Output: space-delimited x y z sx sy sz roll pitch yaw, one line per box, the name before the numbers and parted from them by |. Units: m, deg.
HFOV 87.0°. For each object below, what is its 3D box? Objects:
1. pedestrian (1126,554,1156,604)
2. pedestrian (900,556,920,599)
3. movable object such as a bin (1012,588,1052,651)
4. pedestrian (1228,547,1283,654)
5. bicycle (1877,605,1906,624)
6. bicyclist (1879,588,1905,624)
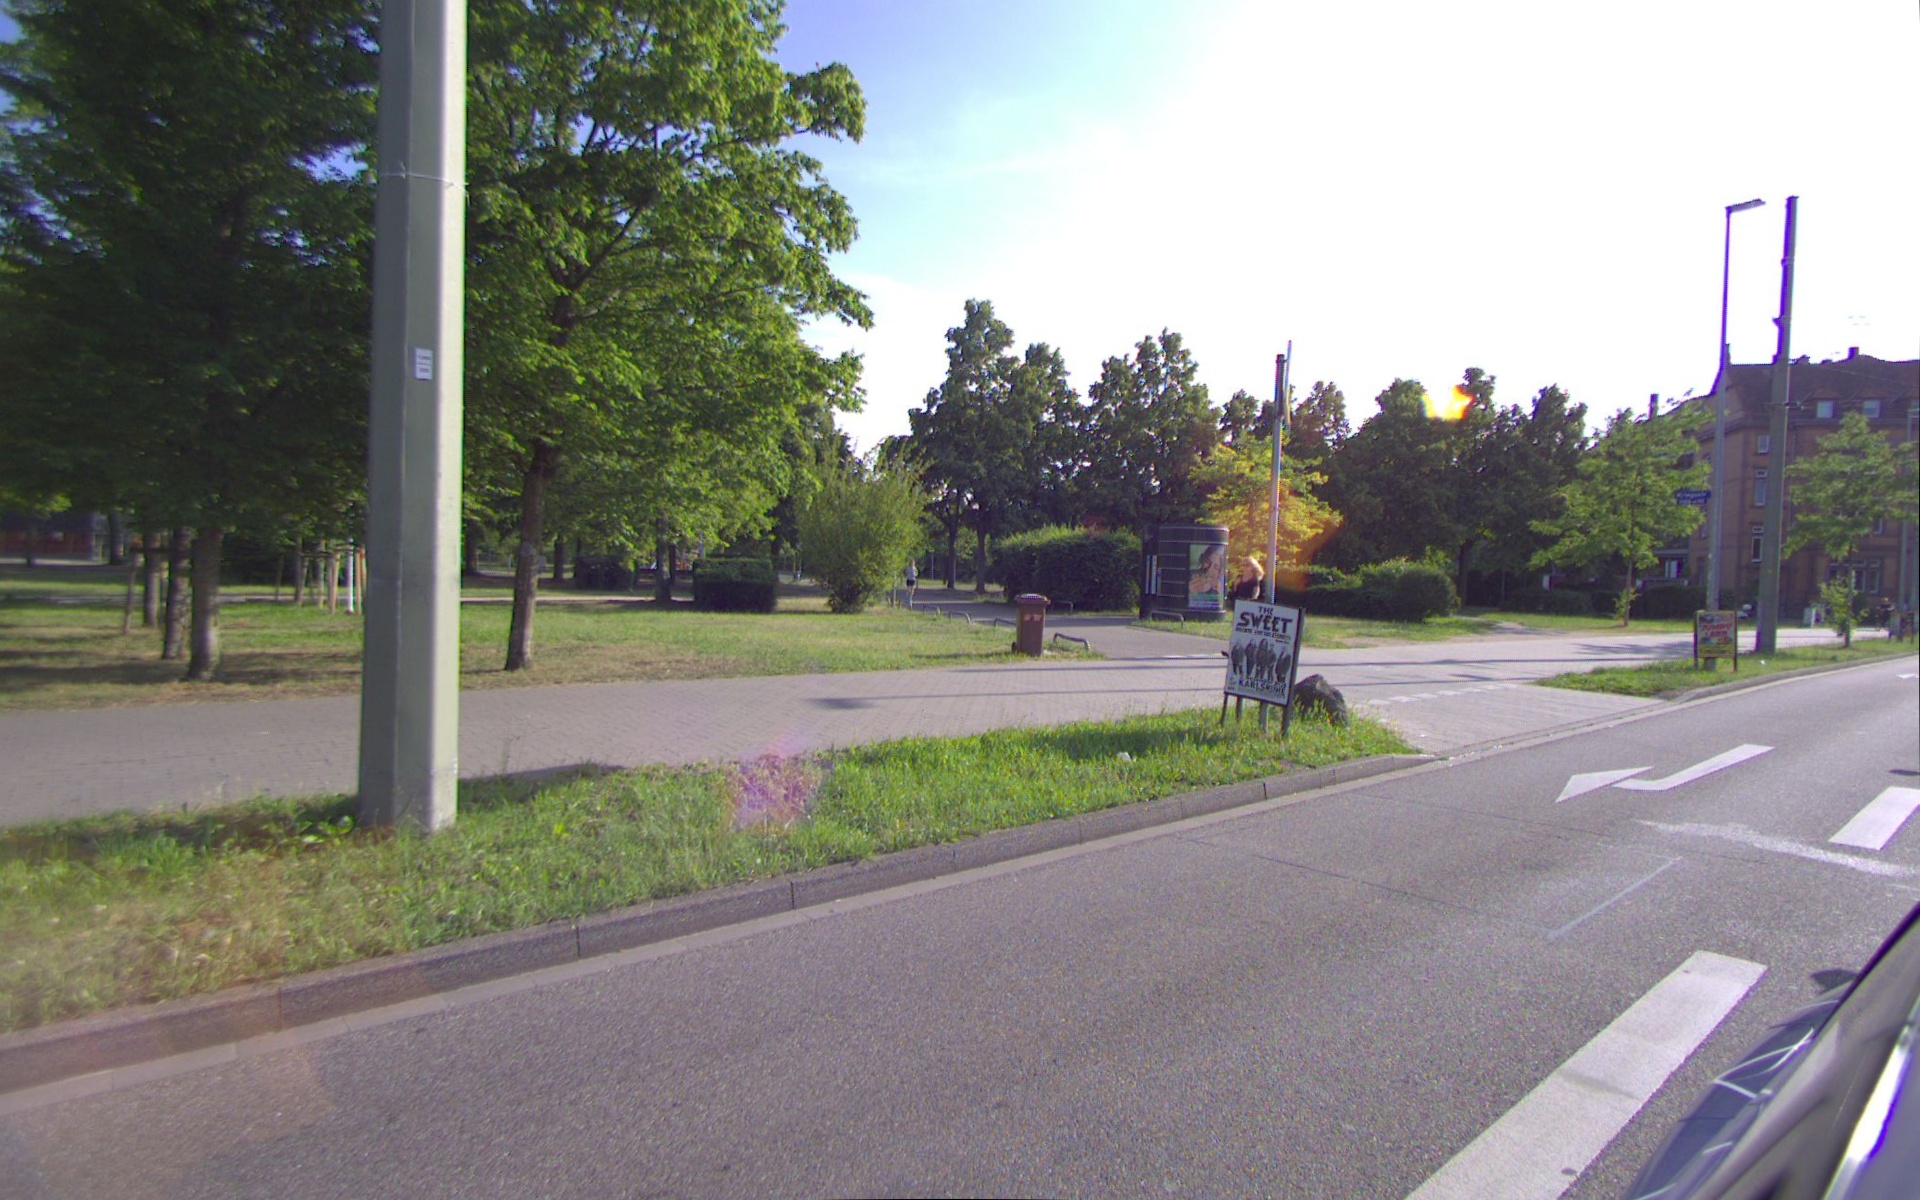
pedestrian | 8.006 -0.922 44.825 0.872 2.184 0.914 1 1 -28
pedestrian | -1.982 -0.906 40.094 0.609 1.671 0.664 1 1 -16
movable object such as a bin | 1.086 0.286 15.292 0.514 0.915 0.504 2 1 -2
pedestrian | 4.893 -0.007 16.770 0.651 1.722 0.558 1 2 -41
bicycle | 48.161 0.721 52.321 2.056 0.929 0.740 0 2 -38
bicyclist | 48.189 0.288 52.309 1.098 1.795 0.754 1 2 -38
